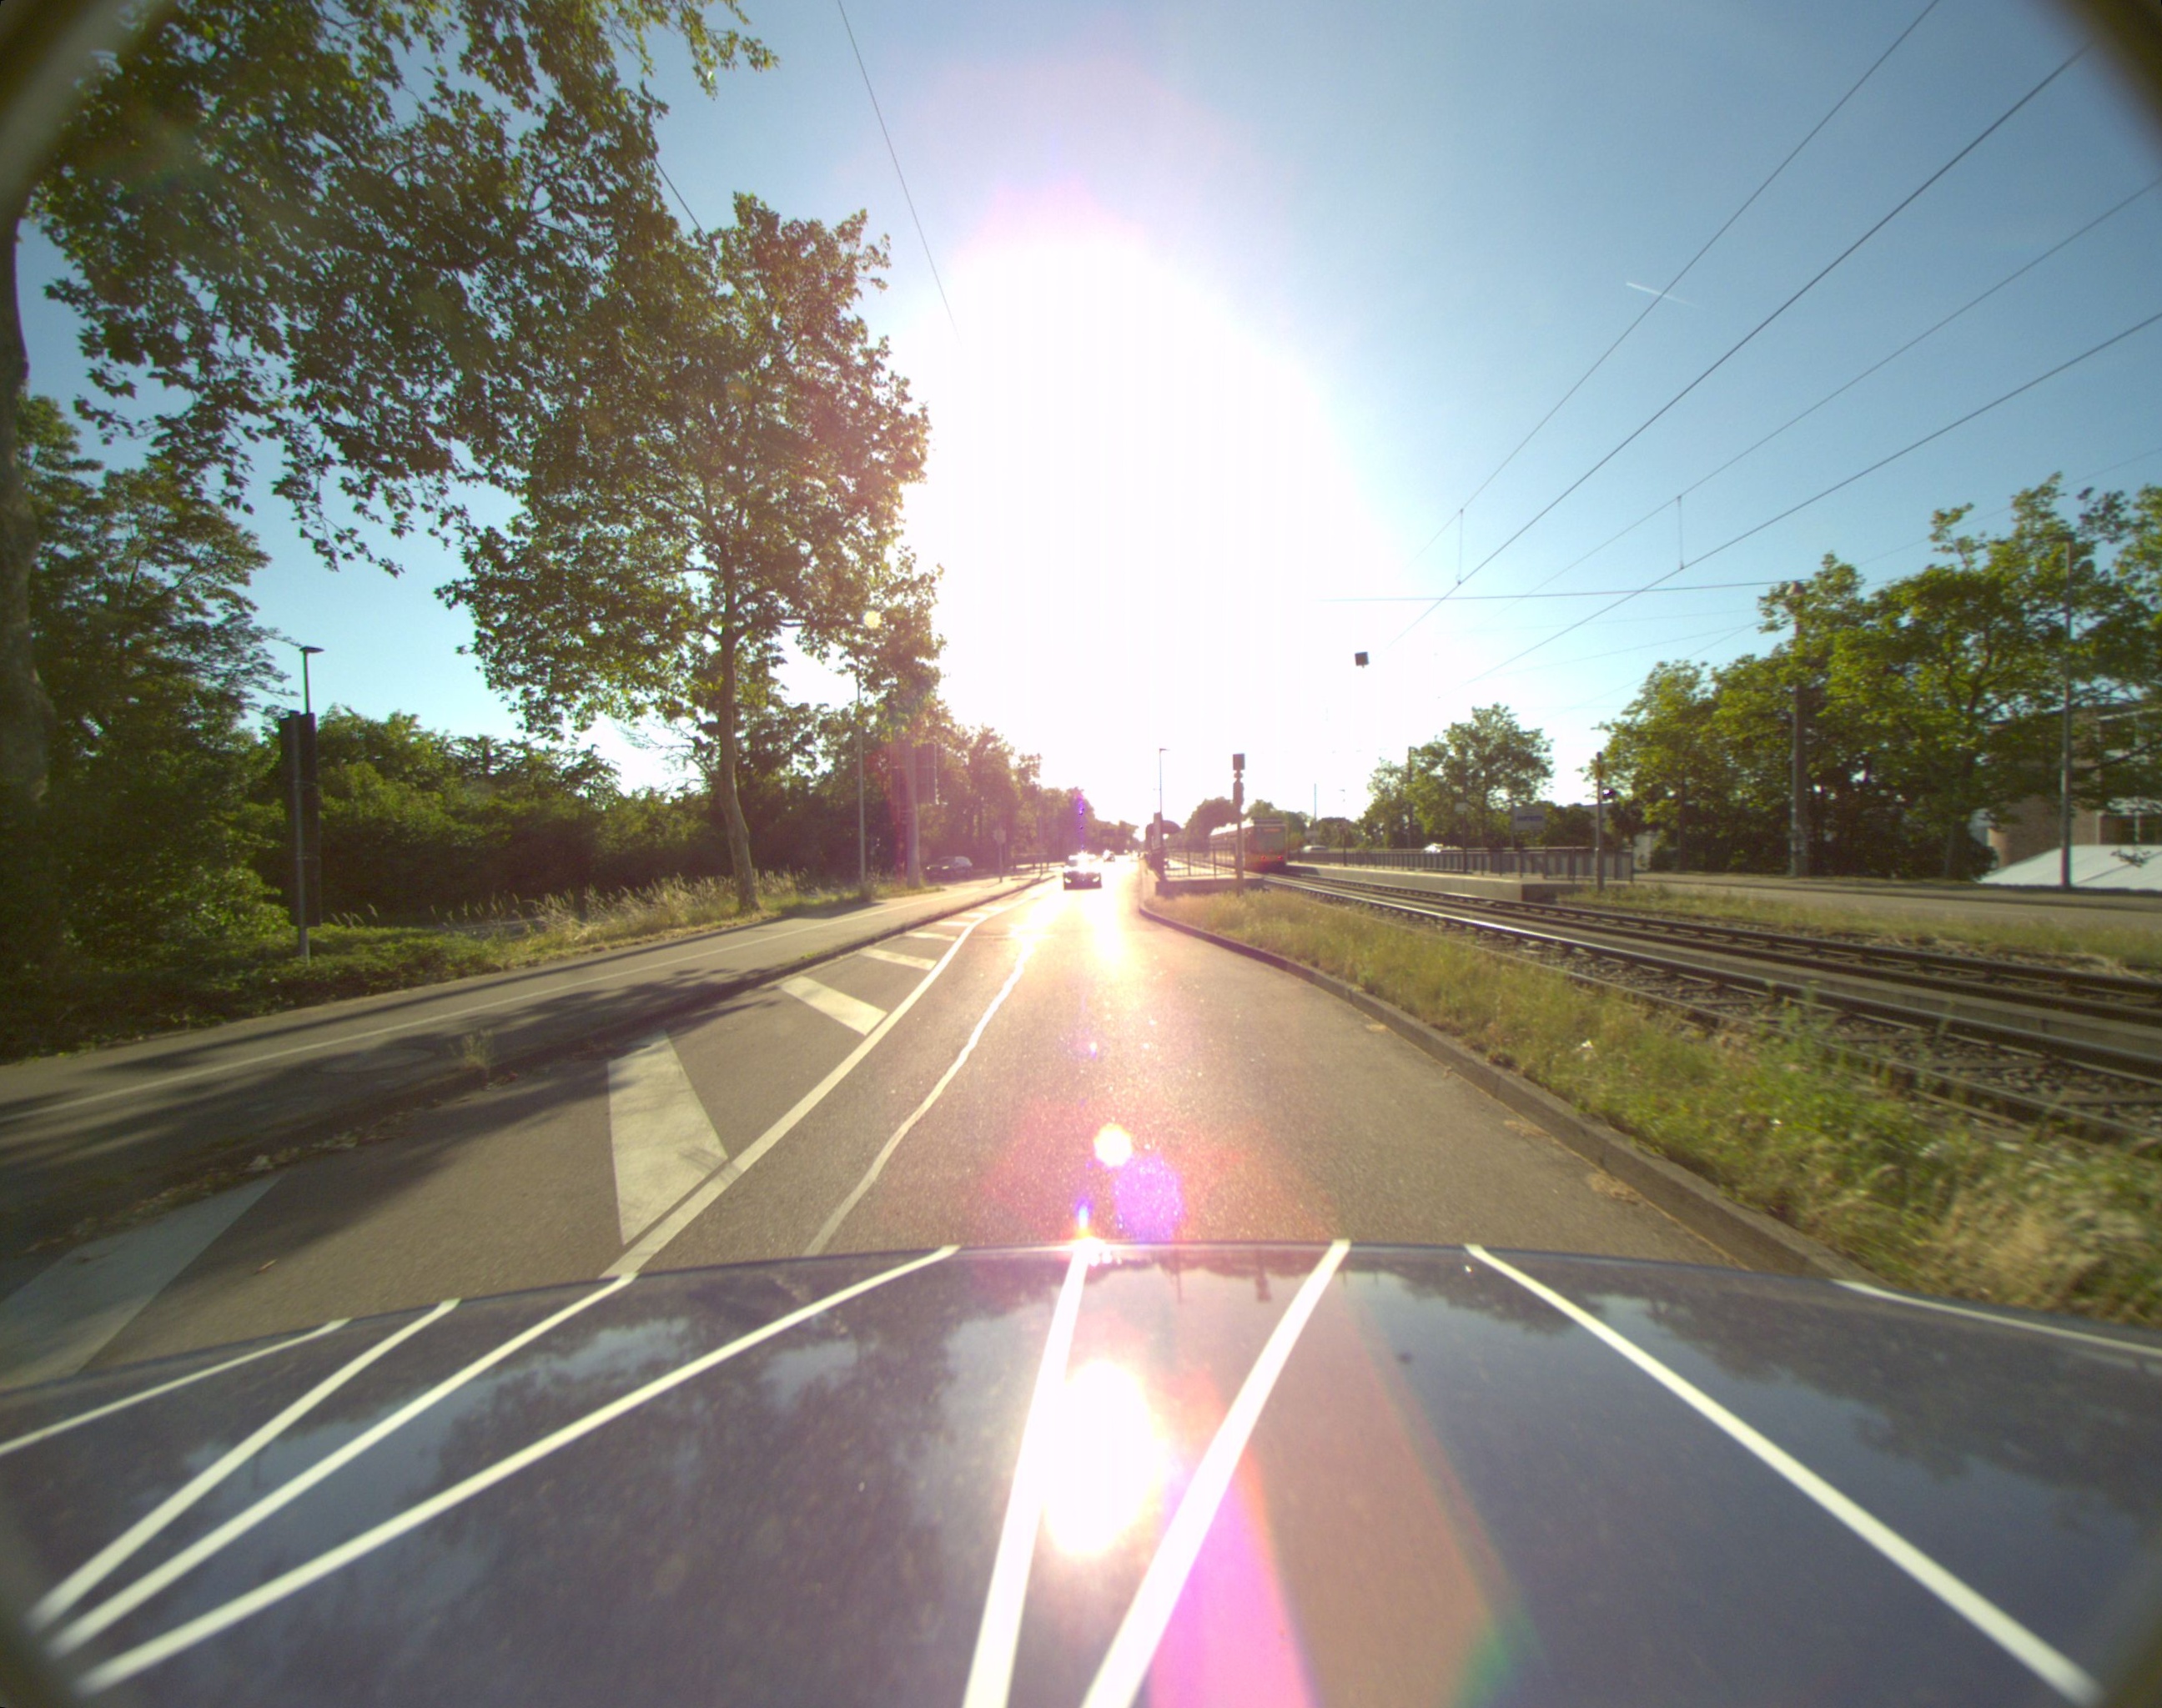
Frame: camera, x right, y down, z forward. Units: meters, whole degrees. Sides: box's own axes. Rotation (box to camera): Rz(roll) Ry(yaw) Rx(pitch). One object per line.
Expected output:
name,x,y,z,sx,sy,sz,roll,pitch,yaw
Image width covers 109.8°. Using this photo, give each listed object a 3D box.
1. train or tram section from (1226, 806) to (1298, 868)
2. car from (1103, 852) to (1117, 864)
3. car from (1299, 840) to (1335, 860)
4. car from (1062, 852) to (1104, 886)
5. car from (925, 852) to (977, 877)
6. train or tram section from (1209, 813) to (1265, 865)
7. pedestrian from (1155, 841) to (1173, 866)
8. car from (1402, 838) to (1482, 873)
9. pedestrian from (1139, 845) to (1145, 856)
train or tram section,12.300,-1.121,52.970,2.833,3.665,12.971,-2,1,5
car,4.009,0.521,104.398,1.783,1.586,4.001,-1,0,4
car,20.062,-0.332,64.743,1.998,1.552,4.335,-2,1,4
car,0.154,0.690,36.418,1.786,1.529,4.001,0,0,3
car,-9.355,0.753,54.955,1.821,1.608,4.006,-1,1,22
train or tram section,13.509,-1.248,67.341,2.833,3.982,15.878,-2,1,5
pedestrian,5.063,-0.013,46.196,0.760,1.485,0.696,-1,1,37
car,17.590,0.045,37.291,1.998,1.552,4.544,-2,1,4
pedestrian,9.499,-0.552,118.996,0.891,1.635,0.987,-1,1,5
